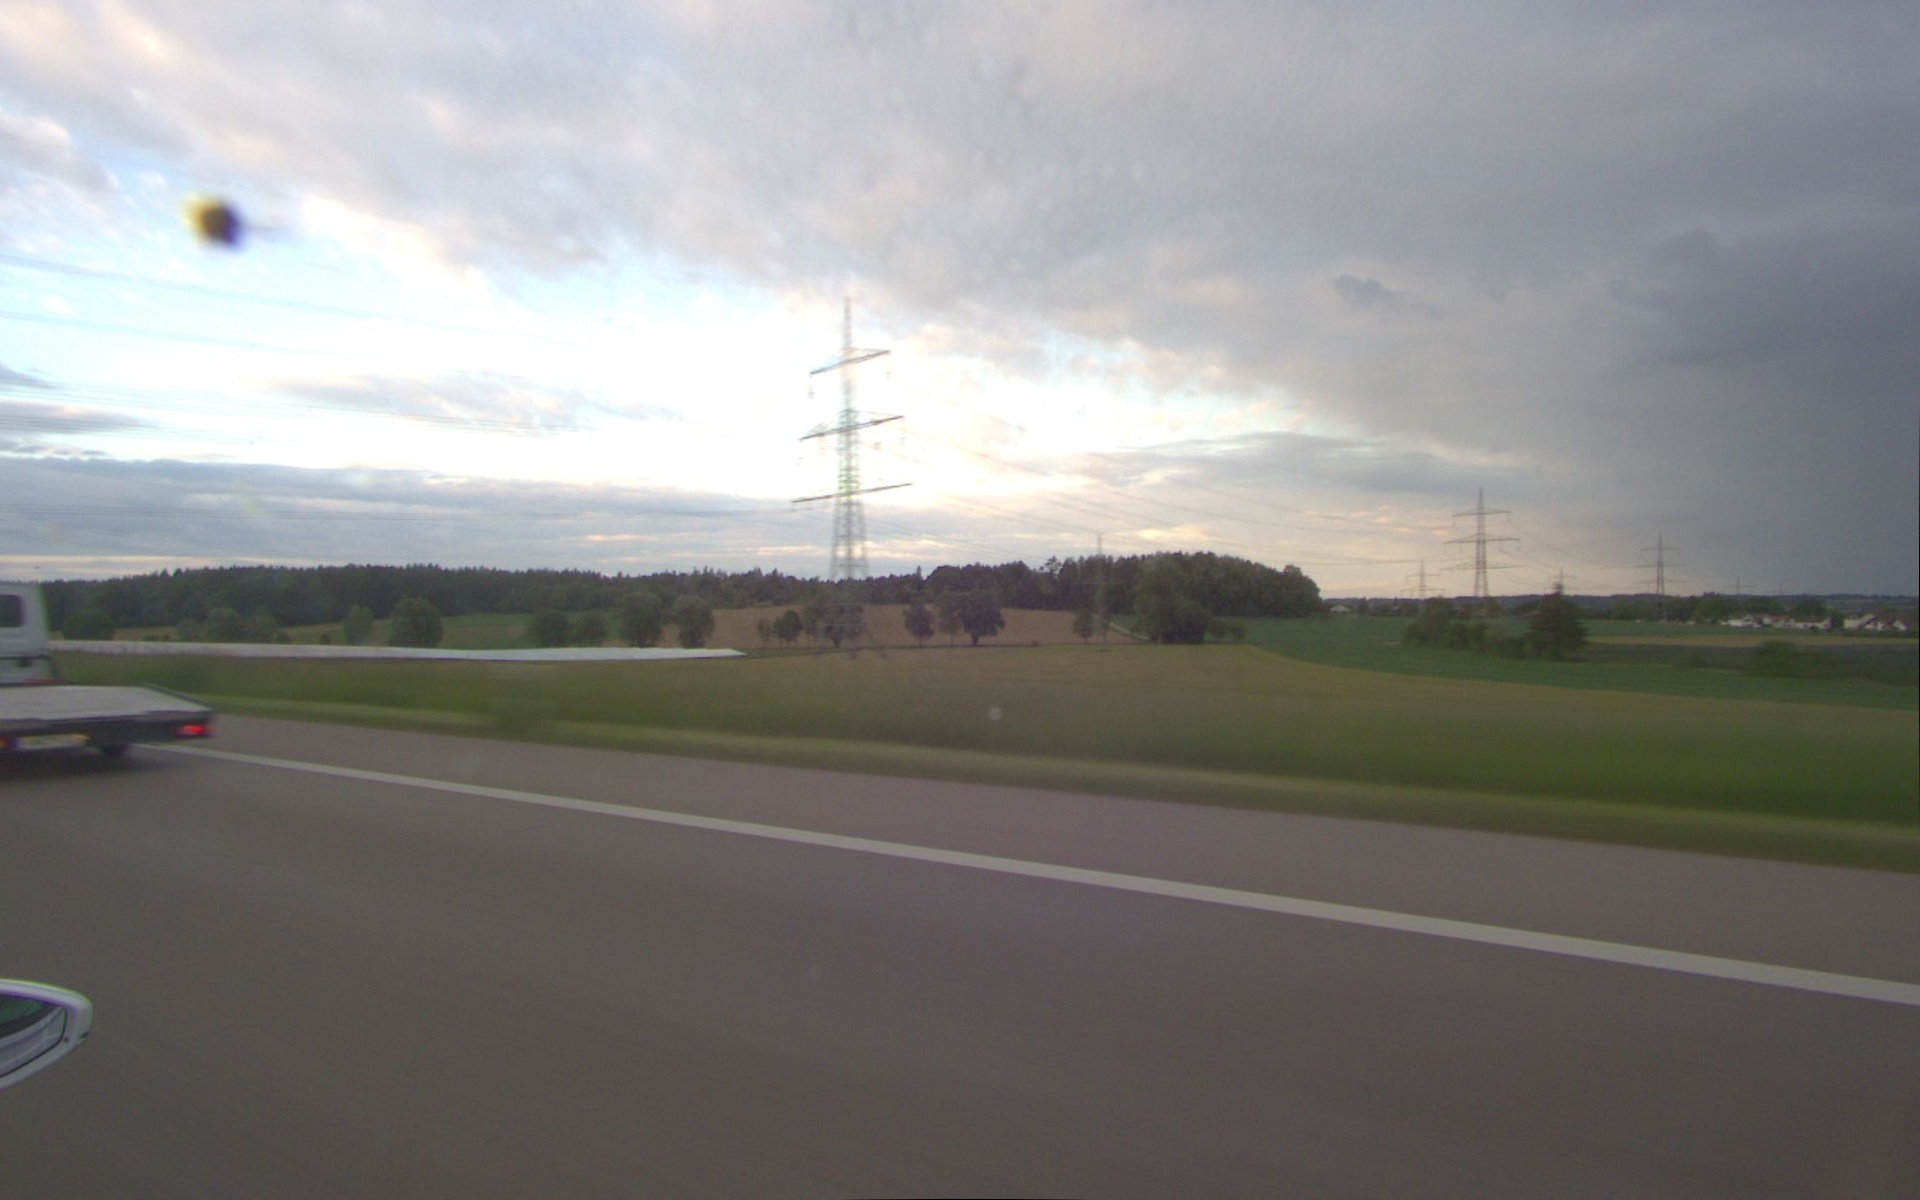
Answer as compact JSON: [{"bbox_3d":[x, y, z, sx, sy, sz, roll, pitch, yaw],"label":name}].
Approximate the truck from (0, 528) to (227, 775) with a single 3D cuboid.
[{"bbox_3d":[-12.034,0.591,12.460,7.589,2.390,2.168,-1,-2,33],"label":"truck"}]
